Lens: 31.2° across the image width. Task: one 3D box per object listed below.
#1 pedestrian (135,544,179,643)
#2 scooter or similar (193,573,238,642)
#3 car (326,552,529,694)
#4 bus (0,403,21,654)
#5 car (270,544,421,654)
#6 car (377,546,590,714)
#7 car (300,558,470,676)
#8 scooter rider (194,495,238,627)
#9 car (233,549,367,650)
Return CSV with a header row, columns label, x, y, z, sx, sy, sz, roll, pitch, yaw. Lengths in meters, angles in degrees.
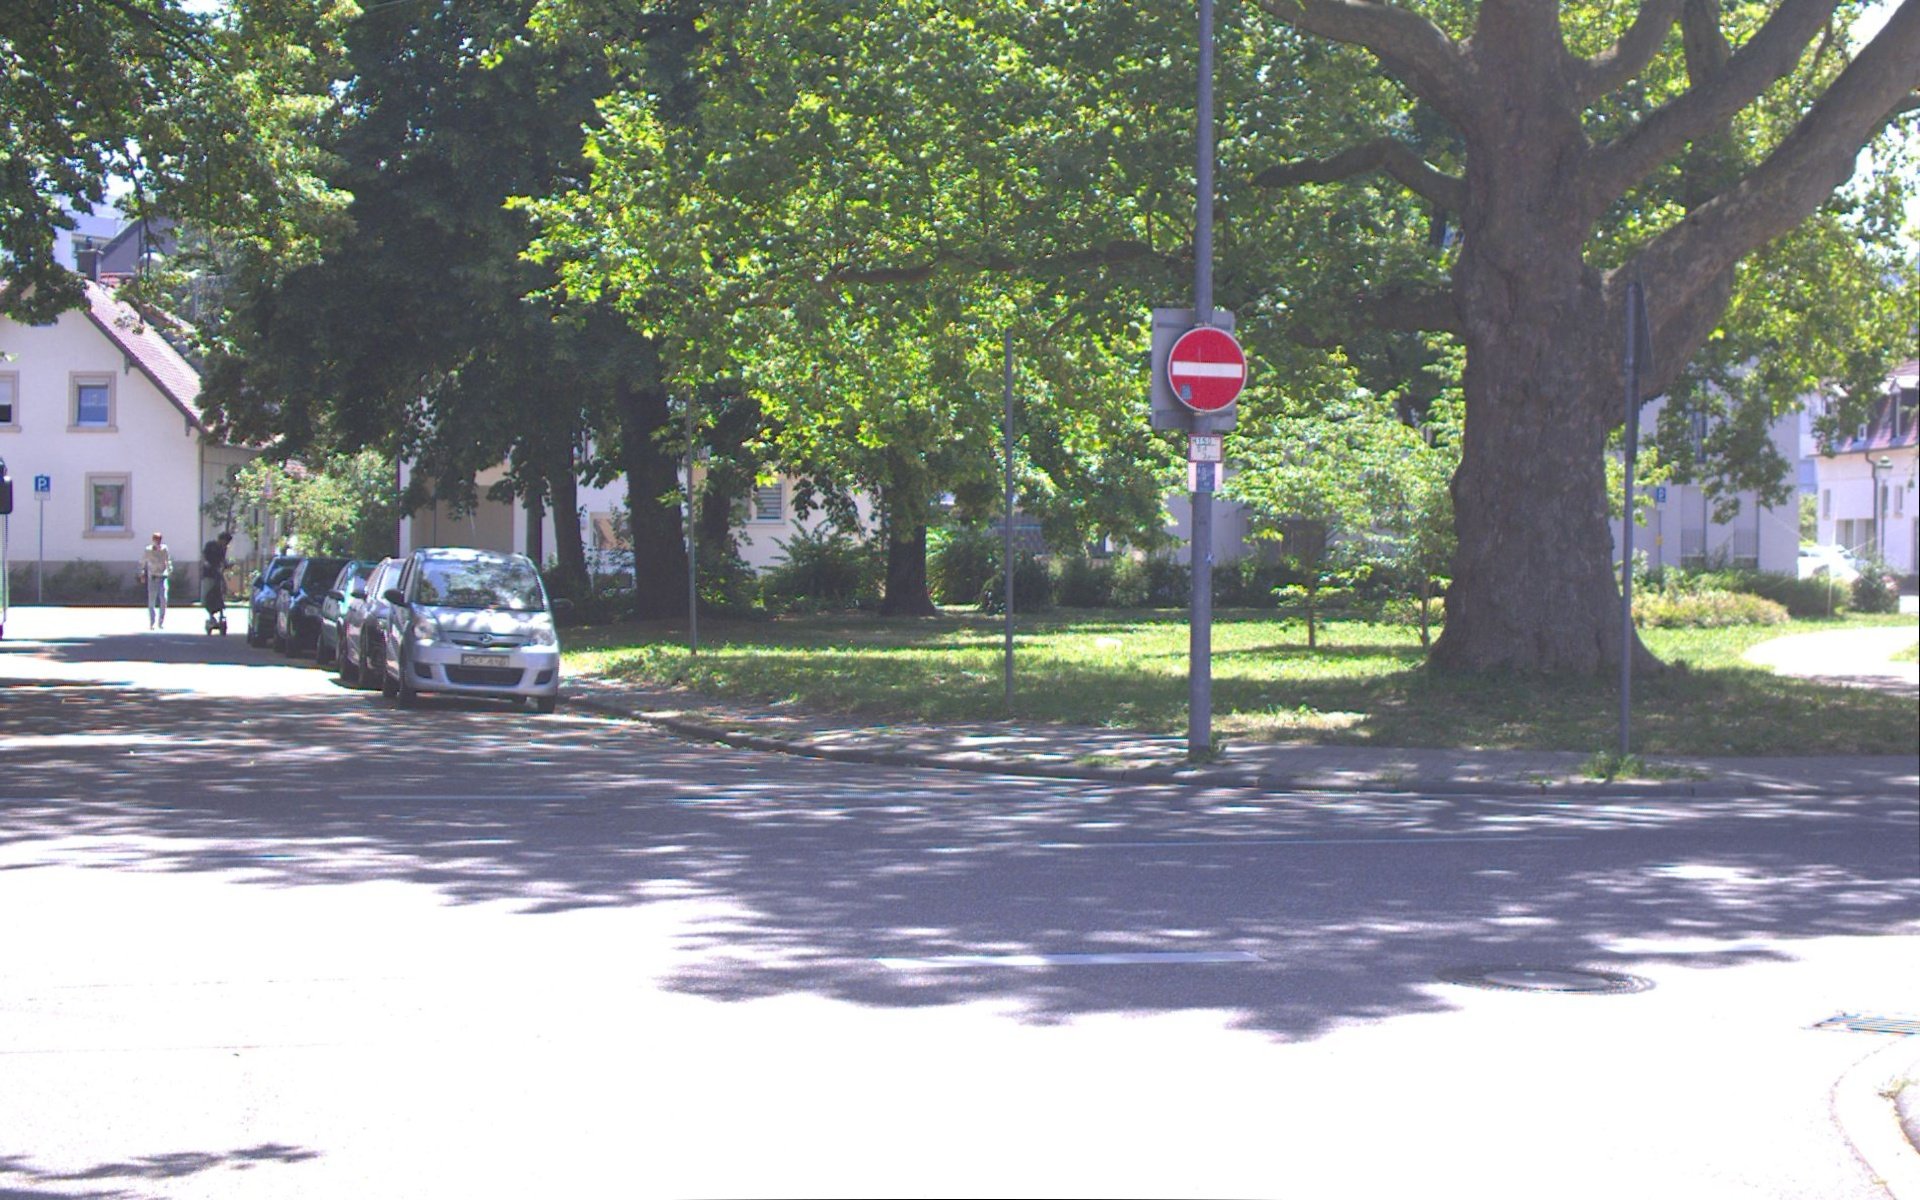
label,x,y,z,sx,sy,sz,roll,pitch,yaw
pedestrian,-14.713,-0.122,62.992,0.719,1.796,0.941,0,1,-9
scooter or similar,-13.099,0.122,60.471,0.738,1.179,1.519,0,1,-14
car,-6.045,0.218,38.653,1.750,1.434,4.505,2,1,-15
bus,-15.857,-1.095,52.414,2.867,3.283,15.956,0,1,-15
car,-8.930,-0.039,49.713,1.753,1.488,4.377,0,1,-15
car,-4.682,0.253,33.434,1.594,1.492,3.487,2,1,-15
car,-7.606,0.186,45.148,1.750,1.434,4.771,0,1,-15
scooter rider,-13.091,-0.693,60.469,0.738,2.310,0.927,0,1,-14
car,-10.346,-0.032,53.721,1.753,1.488,3.919,0,1,-15
